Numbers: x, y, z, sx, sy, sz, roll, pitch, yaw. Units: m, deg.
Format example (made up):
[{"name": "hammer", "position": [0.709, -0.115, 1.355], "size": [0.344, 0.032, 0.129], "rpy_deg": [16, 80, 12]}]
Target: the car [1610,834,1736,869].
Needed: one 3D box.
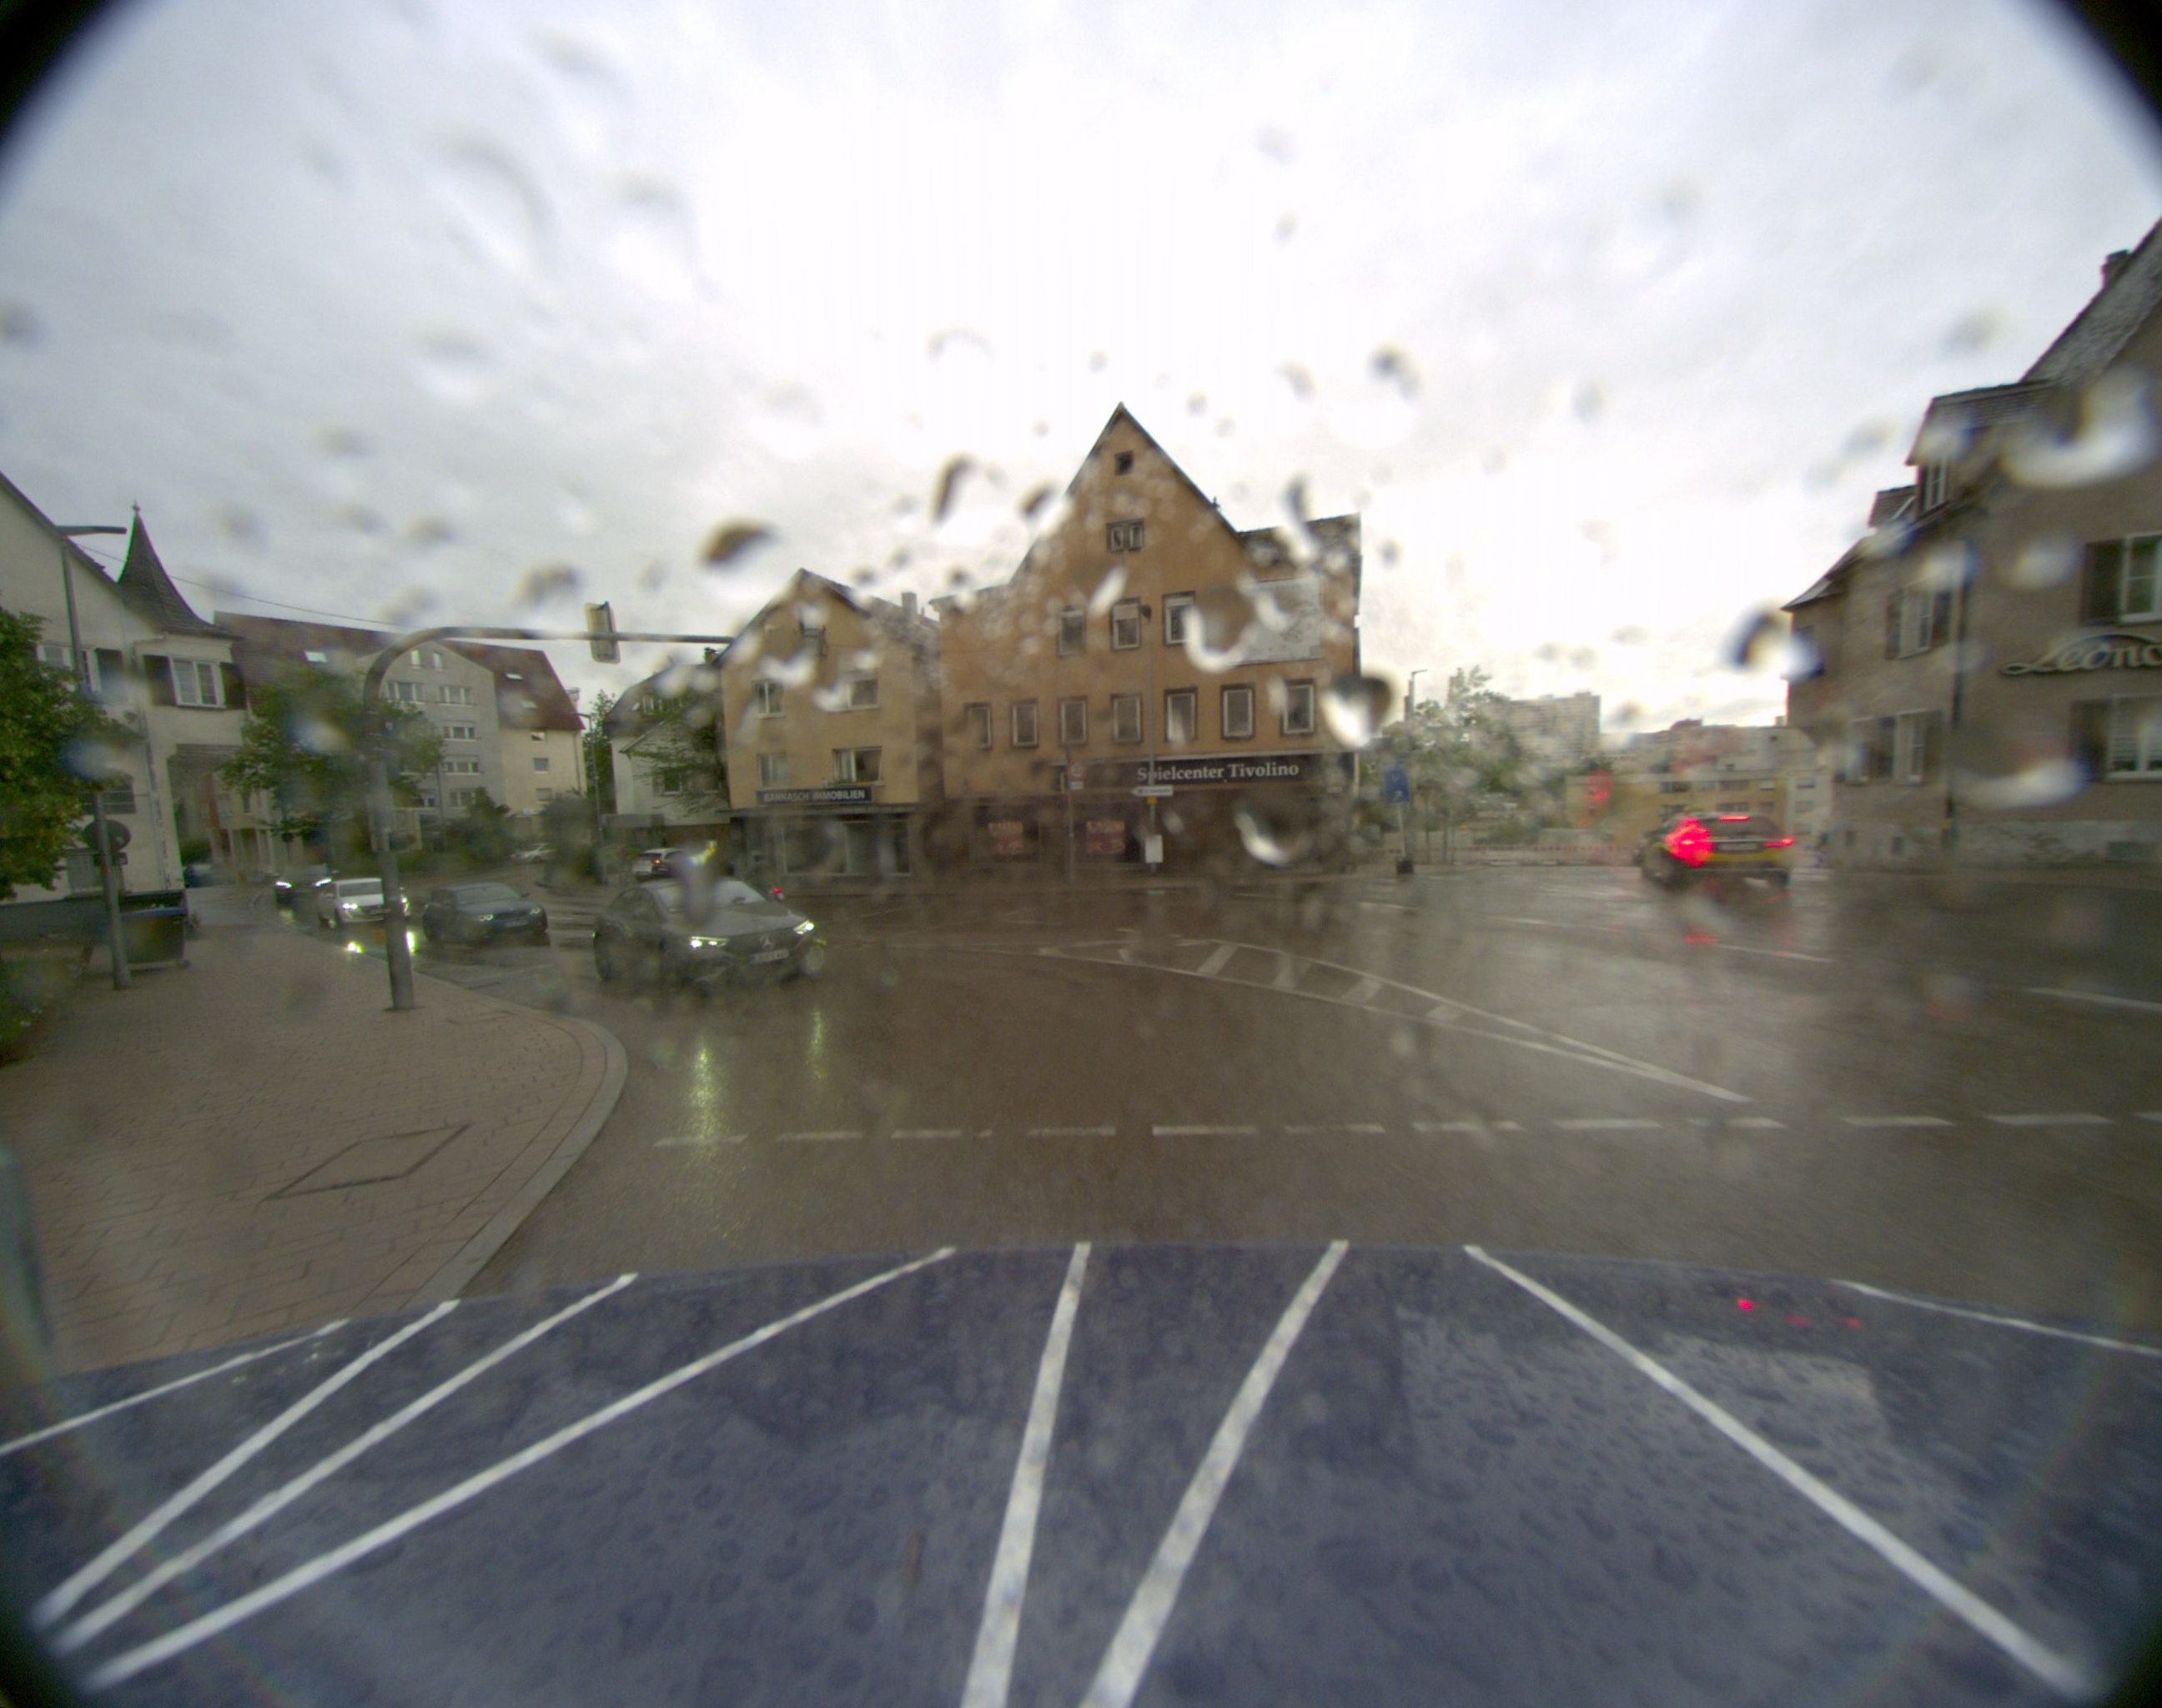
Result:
[{"name": "car", "position": [30.357, -0.121, 39.129], "size": [4.739, 1.579, 1.832], "rpy_deg": [-2, 0, 18]}]

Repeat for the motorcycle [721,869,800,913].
[{"name": "motorcycle", "position": [-9.227, 1.069, 21.914], "size": [1.913, 1.125, 0.771], "rpy_deg": [-2, 4, 12]}]

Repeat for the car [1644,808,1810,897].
[{"name": "car", "position": [12.957, -0.039, 15.555], "size": [1.995, 1.529, 4.422], "rpy_deg": [-2, 0, 33]}]

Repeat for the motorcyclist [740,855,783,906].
[{"name": "motorcyclist", "position": [-9.202, 0.762, 21.883], "size": [0.667, 1.347, 0.811], "rpy_deg": [-3, 5, 13]}]

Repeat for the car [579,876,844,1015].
[{"name": "car", "position": [-5.608, 1.166, 11.280], "size": [4.301, 1.485, 2.003], "rpy_deg": [-2, 4, 43]}]

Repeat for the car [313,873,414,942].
[{"name": "car", "position": [-23.980, 1.700, 25.351], "size": [3.986, 1.558, 1.817], "rpy_deg": [7, 8, 38]}]

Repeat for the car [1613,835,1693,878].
[{"name": "car", "position": [20.956, 0.063, 27.775], "size": [1.994, 1.423, 4.008], "rpy_deg": [-2, 0, 42]}]

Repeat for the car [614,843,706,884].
[{"name": "car", "position": [-20.579, 0.436, 37.299], "size": [1.997, 1.620, 3.645], "rpy_deg": [-1, 4, 10]}]

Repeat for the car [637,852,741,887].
[{"name": "car", "position": [-18.025, 0.696, 35.108], "size": [1.896, 1.445, 4.005], "rpy_deg": [-2, 0, 19]}]

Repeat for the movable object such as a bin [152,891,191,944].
[{"name": "movable object such as a bin", "position": [-25.601, 1.778, 21.384], "size": [0.643, 1.433, 0.413], "rpy_deg": [-2, 1, 12]}]

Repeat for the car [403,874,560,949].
[{"name": "car", "position": [-15.900, 1.443, 20.107], "size": [4.365, 1.525, 1.777], "rpy_deg": [1, 5, 32]}]

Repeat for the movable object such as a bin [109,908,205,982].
[{"name": "movable object such as a bin", "position": [-19.960, 1.934, 16.459], "size": [1.183, 1.306, 1.160], "rpy_deg": [2, 6, 42]}]
